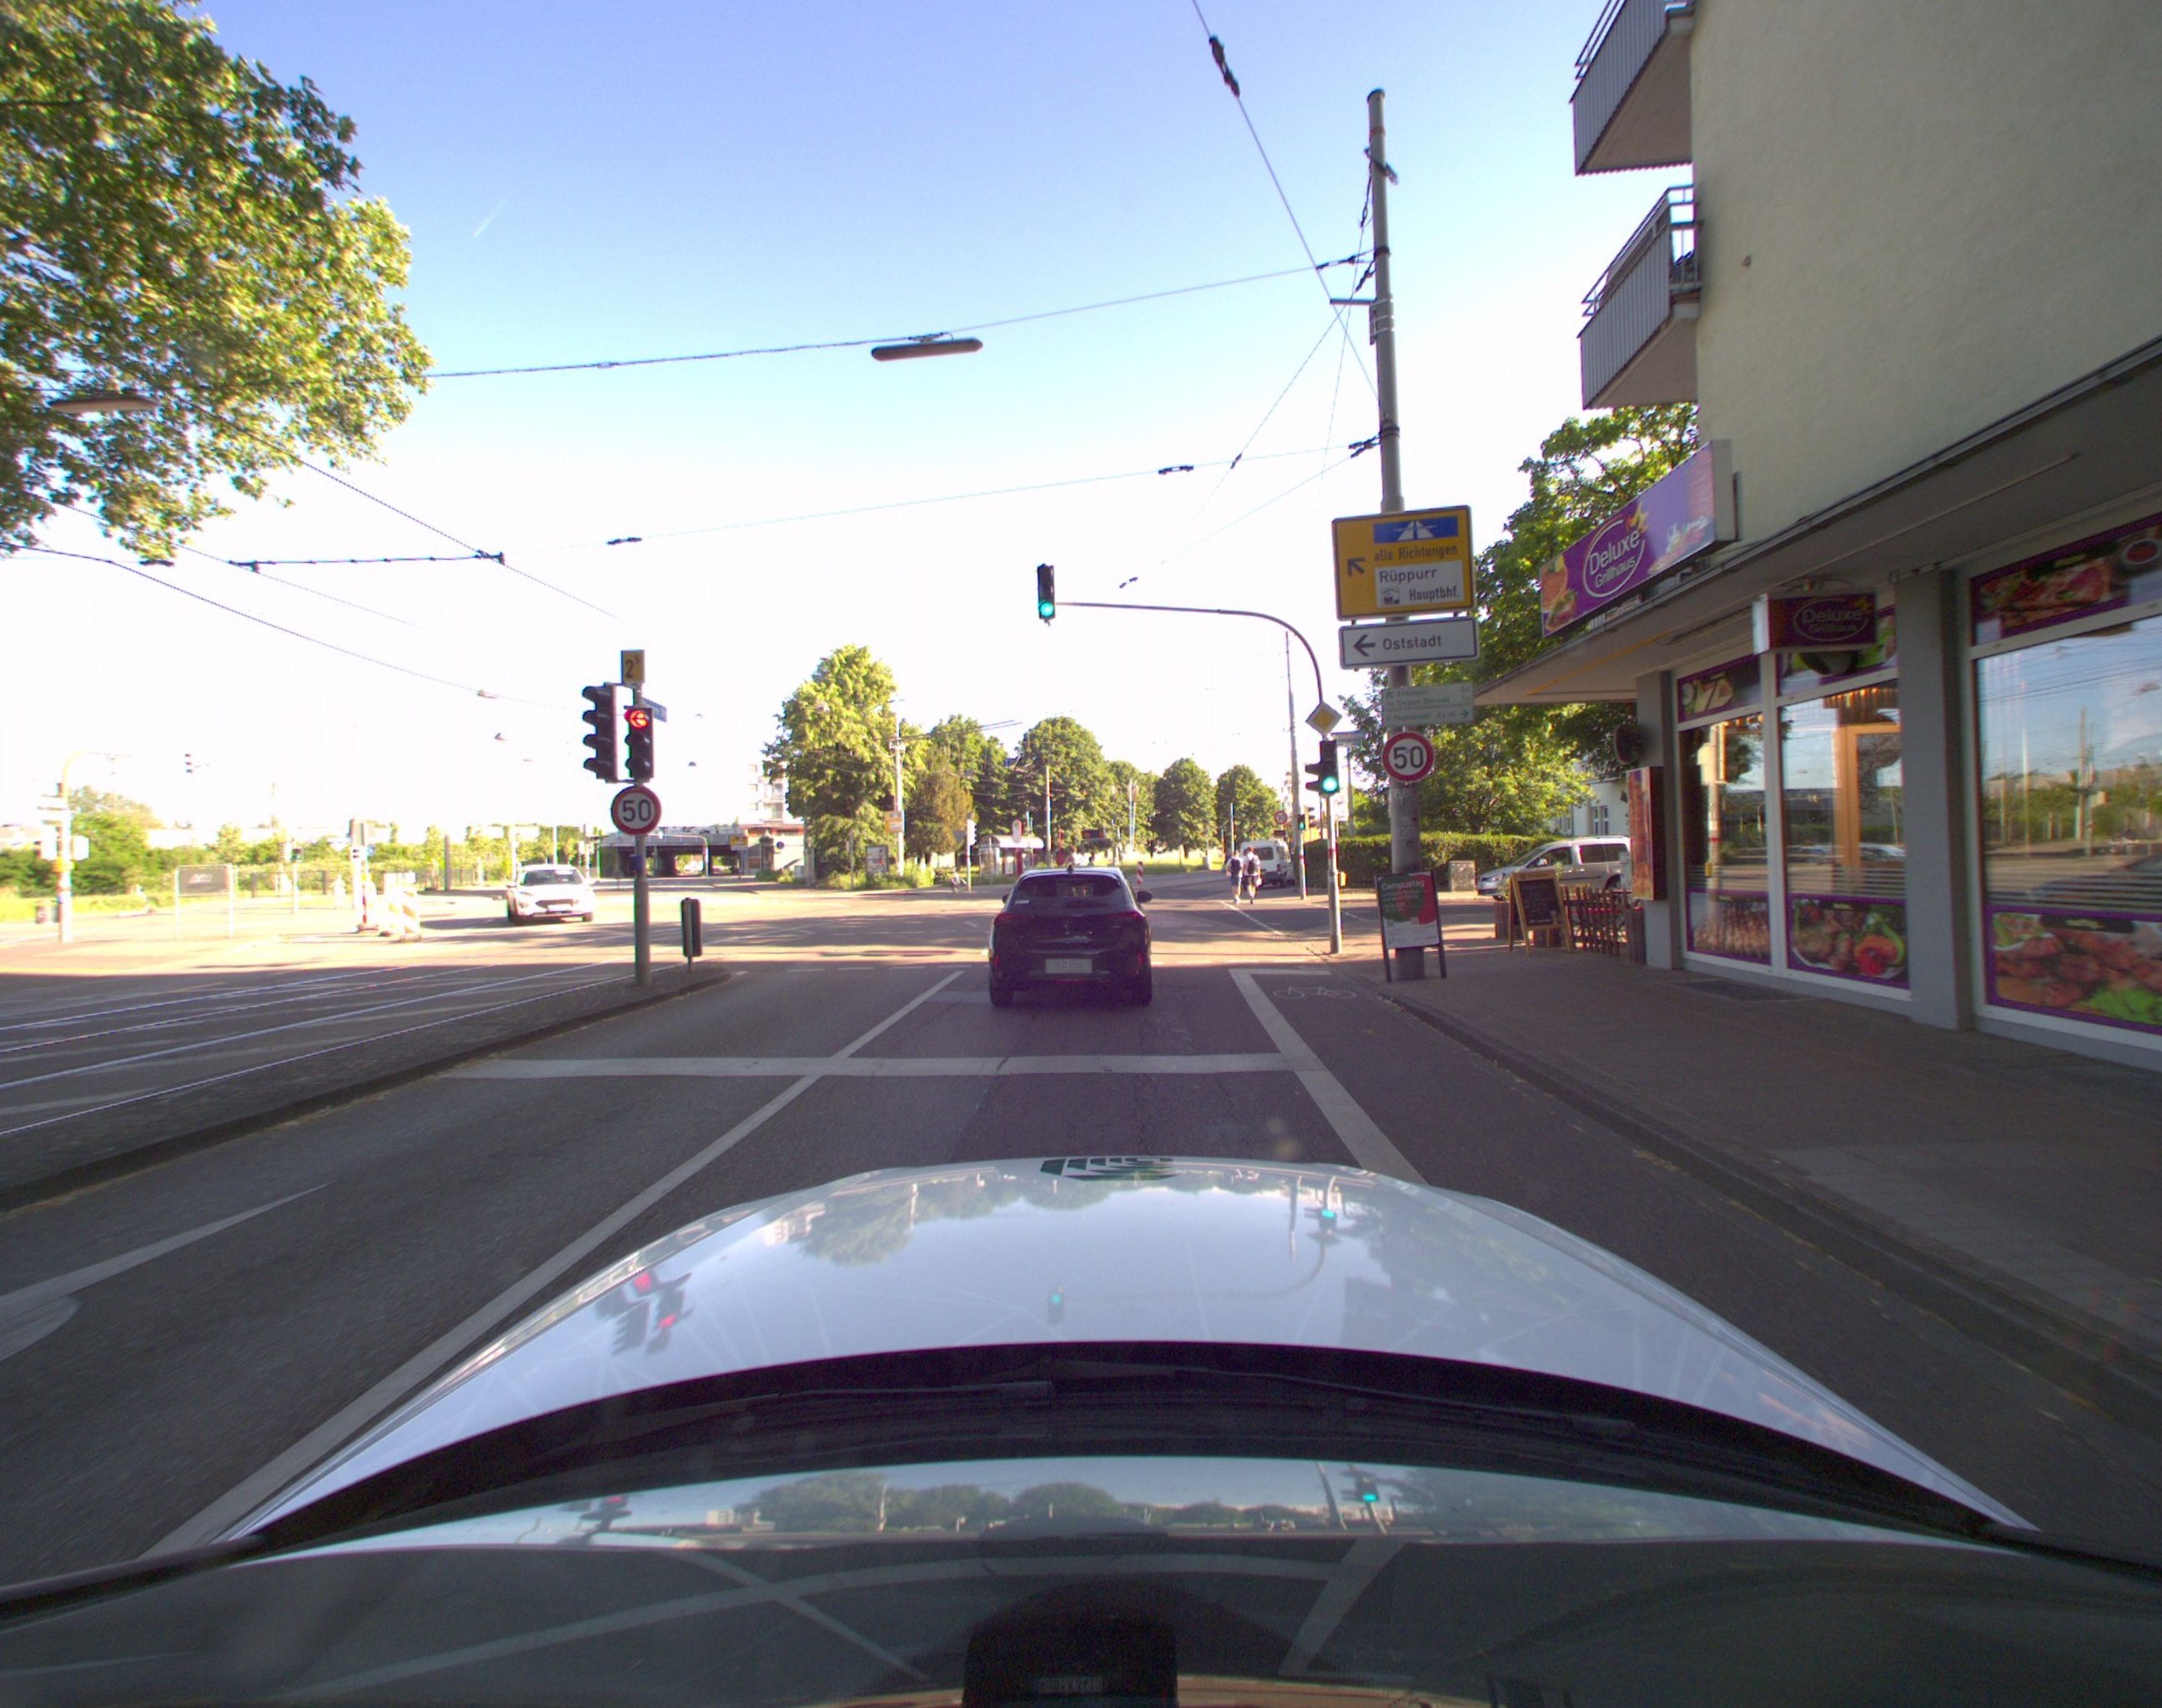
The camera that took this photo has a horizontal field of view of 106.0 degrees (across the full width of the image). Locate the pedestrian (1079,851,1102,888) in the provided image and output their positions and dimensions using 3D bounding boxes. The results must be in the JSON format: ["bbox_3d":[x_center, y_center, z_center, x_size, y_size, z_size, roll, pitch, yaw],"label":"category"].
[{"bbox_3d":[0.451,0.699,37.909,0.719,1.693,0.705,-2,-1,45],"label":"pedestrian"}]

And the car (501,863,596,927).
[{"bbox_3d":[-15.457,1.108,23.862,2.006,1.631,4.586,-1,0,-30],"label":"car"}]

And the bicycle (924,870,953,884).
[{"bbox_3d":[-9.926,1.577,56.611,1.866,0.906,0.661,-1,0,7],"label":"bicycle"}]

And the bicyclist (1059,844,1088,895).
[{"bbox_3d":[-0.243,0.460,24.765,0.838,1.510,1.368,-1,0,-2],"label":"bicyclist"}]

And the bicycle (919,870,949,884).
[{"bbox_3d":[-10.025,1.593,55.625,1.866,0.906,0.661,-1,0,7],"label":"bicycle"}]

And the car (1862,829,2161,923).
[{"bbox_3d":[18.305,0.401,16.297,1.703,1.618,3.907,-1,0,3],"label":"car"}]

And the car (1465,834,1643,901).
[{"bbox_3d":[13.958,0.436,24.266,4.152,1.814,1.810,-2,-3,8],"label":"car"}]

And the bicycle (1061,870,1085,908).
[{"bbox_3d":[-0.221,1.047,24.802,0.665,1.059,2.082,-1,0,0],"label":"bicycle"}]

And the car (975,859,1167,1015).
[{"bbox_3d":[-0.036,0.806,9.747,1.794,1.441,3.941,-2,0,2],"label":"car"}]

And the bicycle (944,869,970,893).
[{"bbox_3d":[-5.853,1.275,38.442,0.822,1.059,1.884,-1,0,3],"label":"bicycle"}]

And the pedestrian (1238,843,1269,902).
[{"bbox_3d":[5.587,0.590,26.366,0.696,1.846,0.705,-2,-1,40],"label":"pedestrian"}]

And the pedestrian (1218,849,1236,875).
[{"bbox_3d":[10.034,0.547,56.084,0.949,1.793,1.001,-2,-1,26],"label":"pedestrian"}]

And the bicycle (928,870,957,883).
[{"bbox_3d":[-9.773,1.589,57.482,1.866,0.906,0.661,-1,0,7],"label":"bicycle"}]

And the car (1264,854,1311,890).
[{"bbox_3d":[11.058,0.925,43.438,1.784,1.763,3.912,-2,0,23],"label":"car"}]

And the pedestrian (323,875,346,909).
[{"bbox_3d":[-35.636,1.821,38.901,0.602,1.596,0.679,0,-2,-25],"label":"pedestrian"}]

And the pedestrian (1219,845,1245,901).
[{"bbox_3d":[4.957,0.628,26.833,0.696,1.792,0.617,-2,-1,0],"label":"pedestrian"}]

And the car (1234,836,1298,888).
[{"bbox_3d":[8.685,0.388,37.917,2.070,2.278,4.330,-1,-1,24],"label":"car"}]

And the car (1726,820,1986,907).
[{"bbox_3d":[15.972,0.191,17.128,1.698,1.581,4.038,-1,0,2],"label":"car"}]
